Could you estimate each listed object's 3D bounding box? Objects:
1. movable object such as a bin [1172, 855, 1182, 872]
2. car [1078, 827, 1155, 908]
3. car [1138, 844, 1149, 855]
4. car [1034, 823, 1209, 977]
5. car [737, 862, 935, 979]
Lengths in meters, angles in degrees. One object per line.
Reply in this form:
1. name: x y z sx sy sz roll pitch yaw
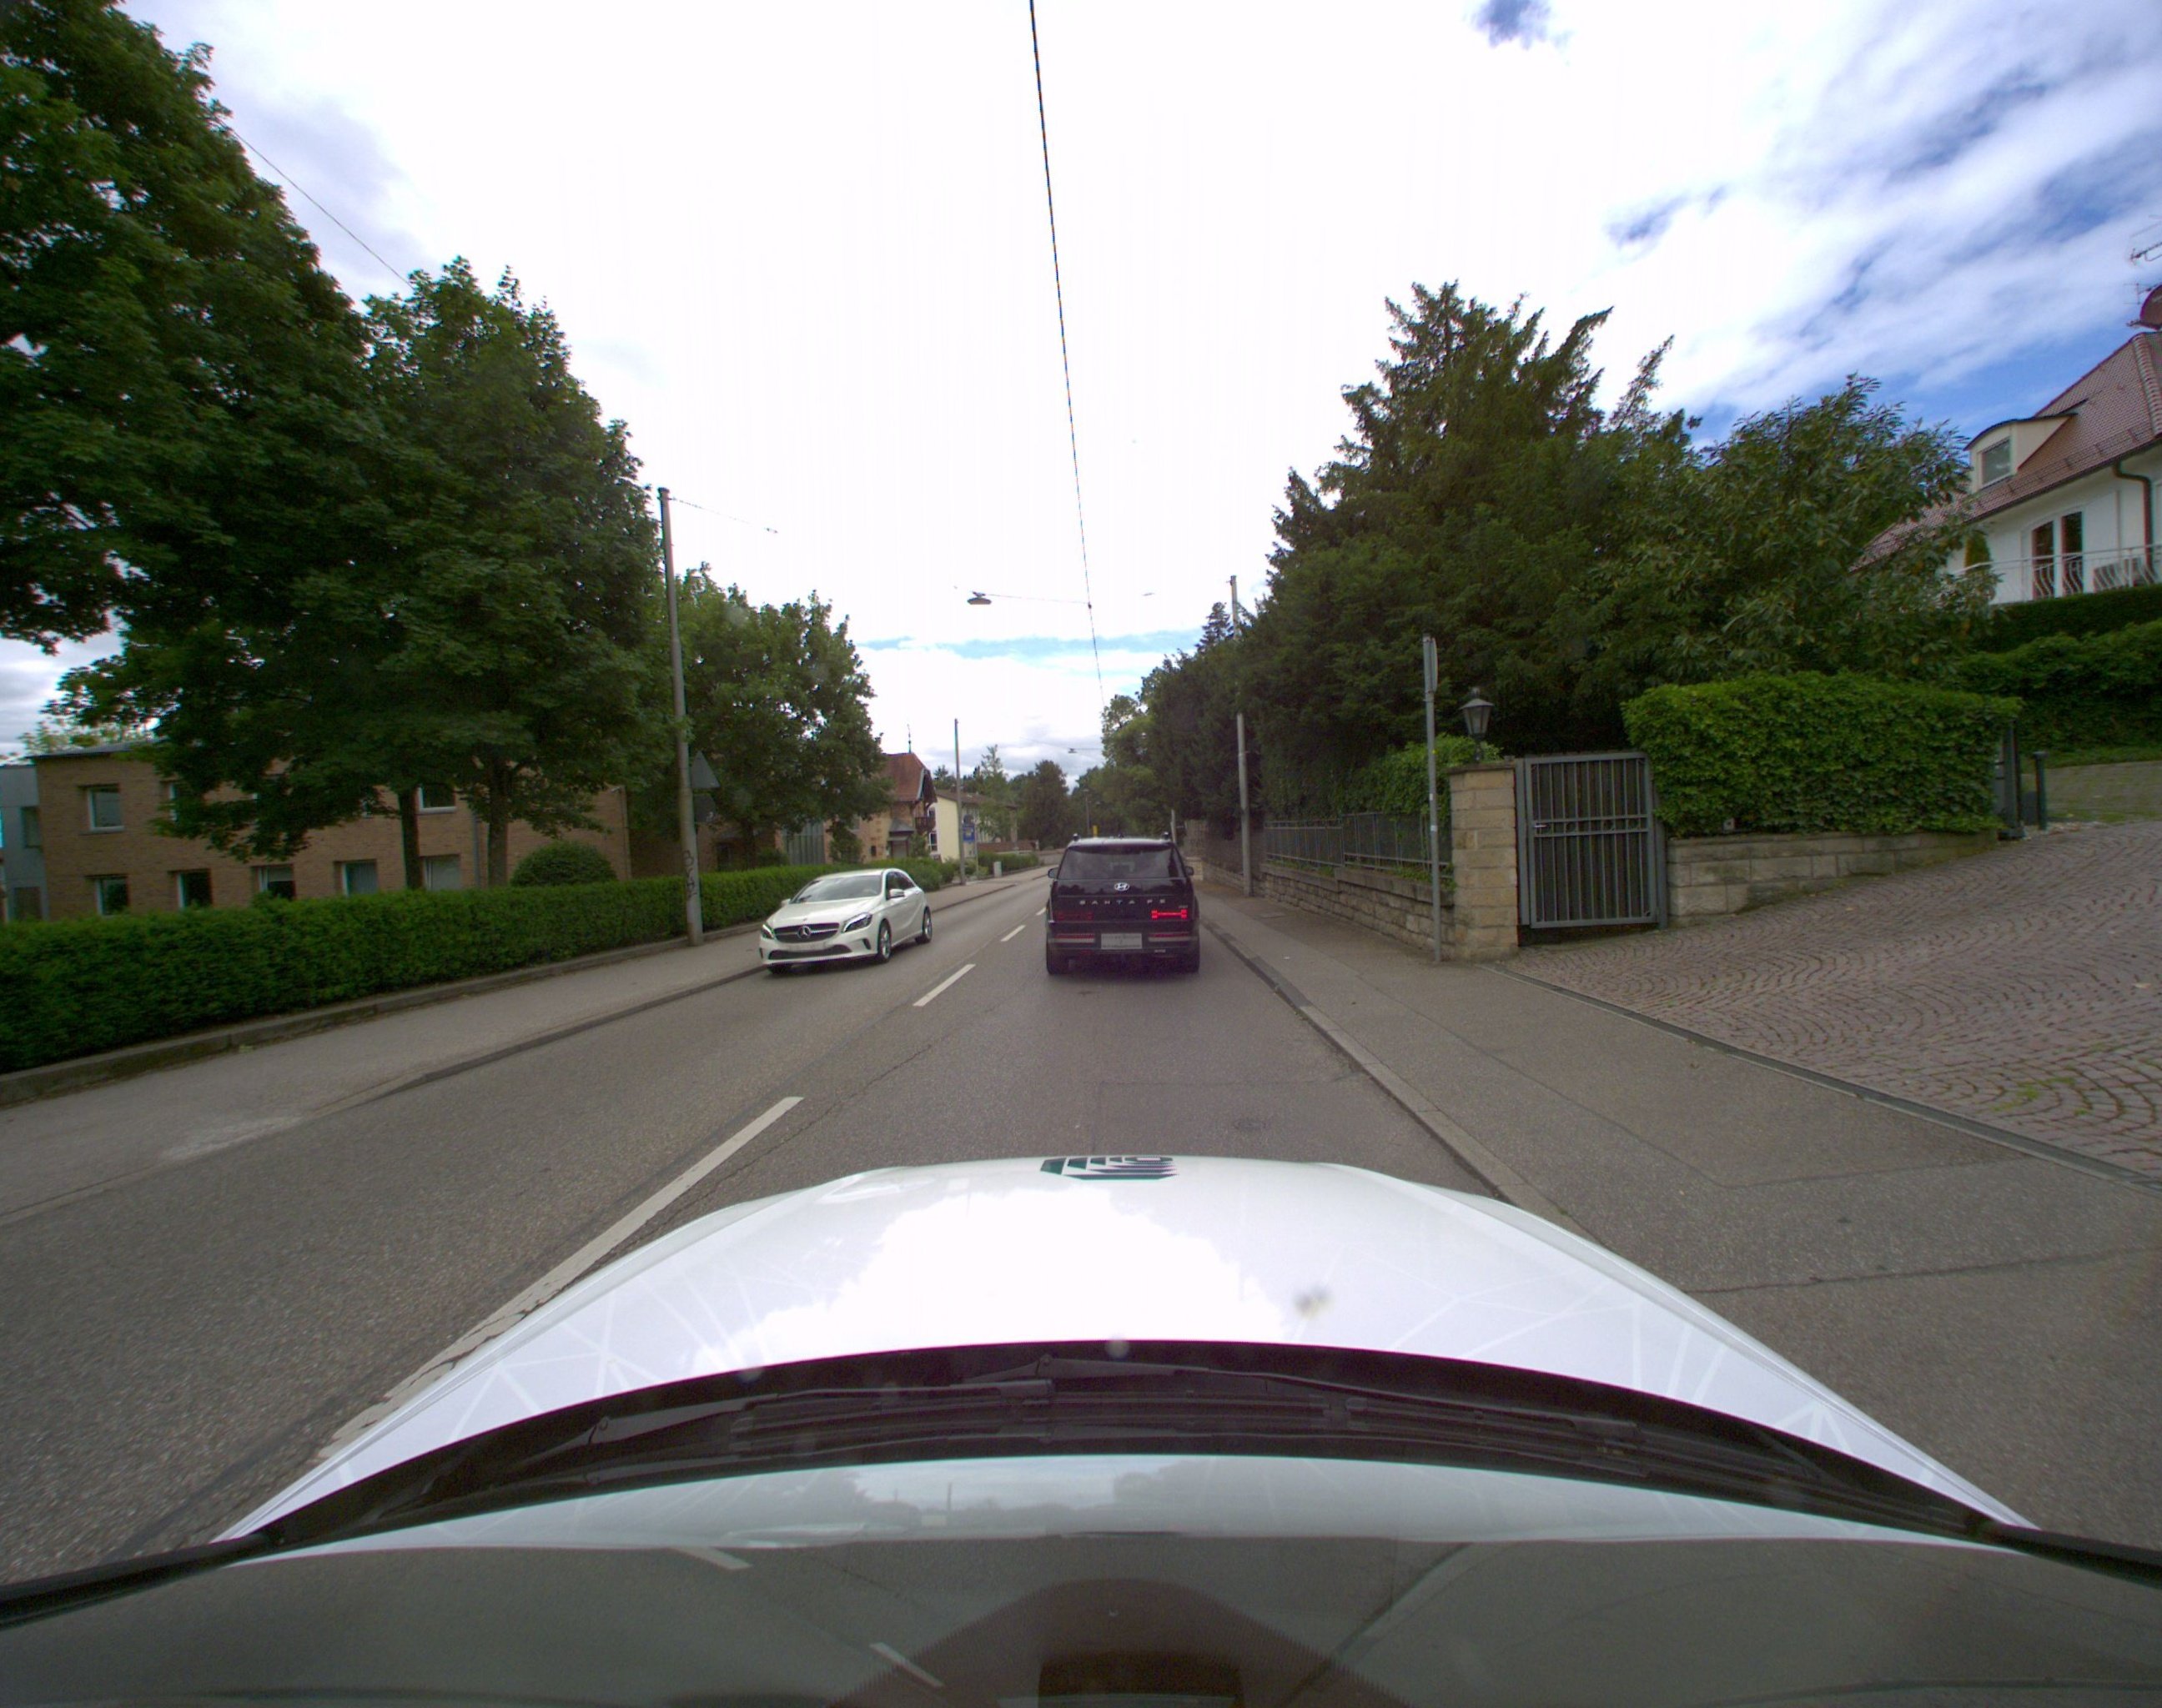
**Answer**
1. movable object such as a bin: 5.432 0.526 45.985 0.442 0.910 0.395 -3 0 12
2. car: 0.923 0.287 22.934 1.951 1.955 4.224 0 3 0
3. car: 9.923 -0.682 128.784 1.636 1.561 3.655 -3 -2 6
4. car: 0.565 0.494 11.249 1.949 1.713 4.227 0 1 3
5. car: -3.758 0.949 13.311 1.759 1.421 4.068 -5 0 2
